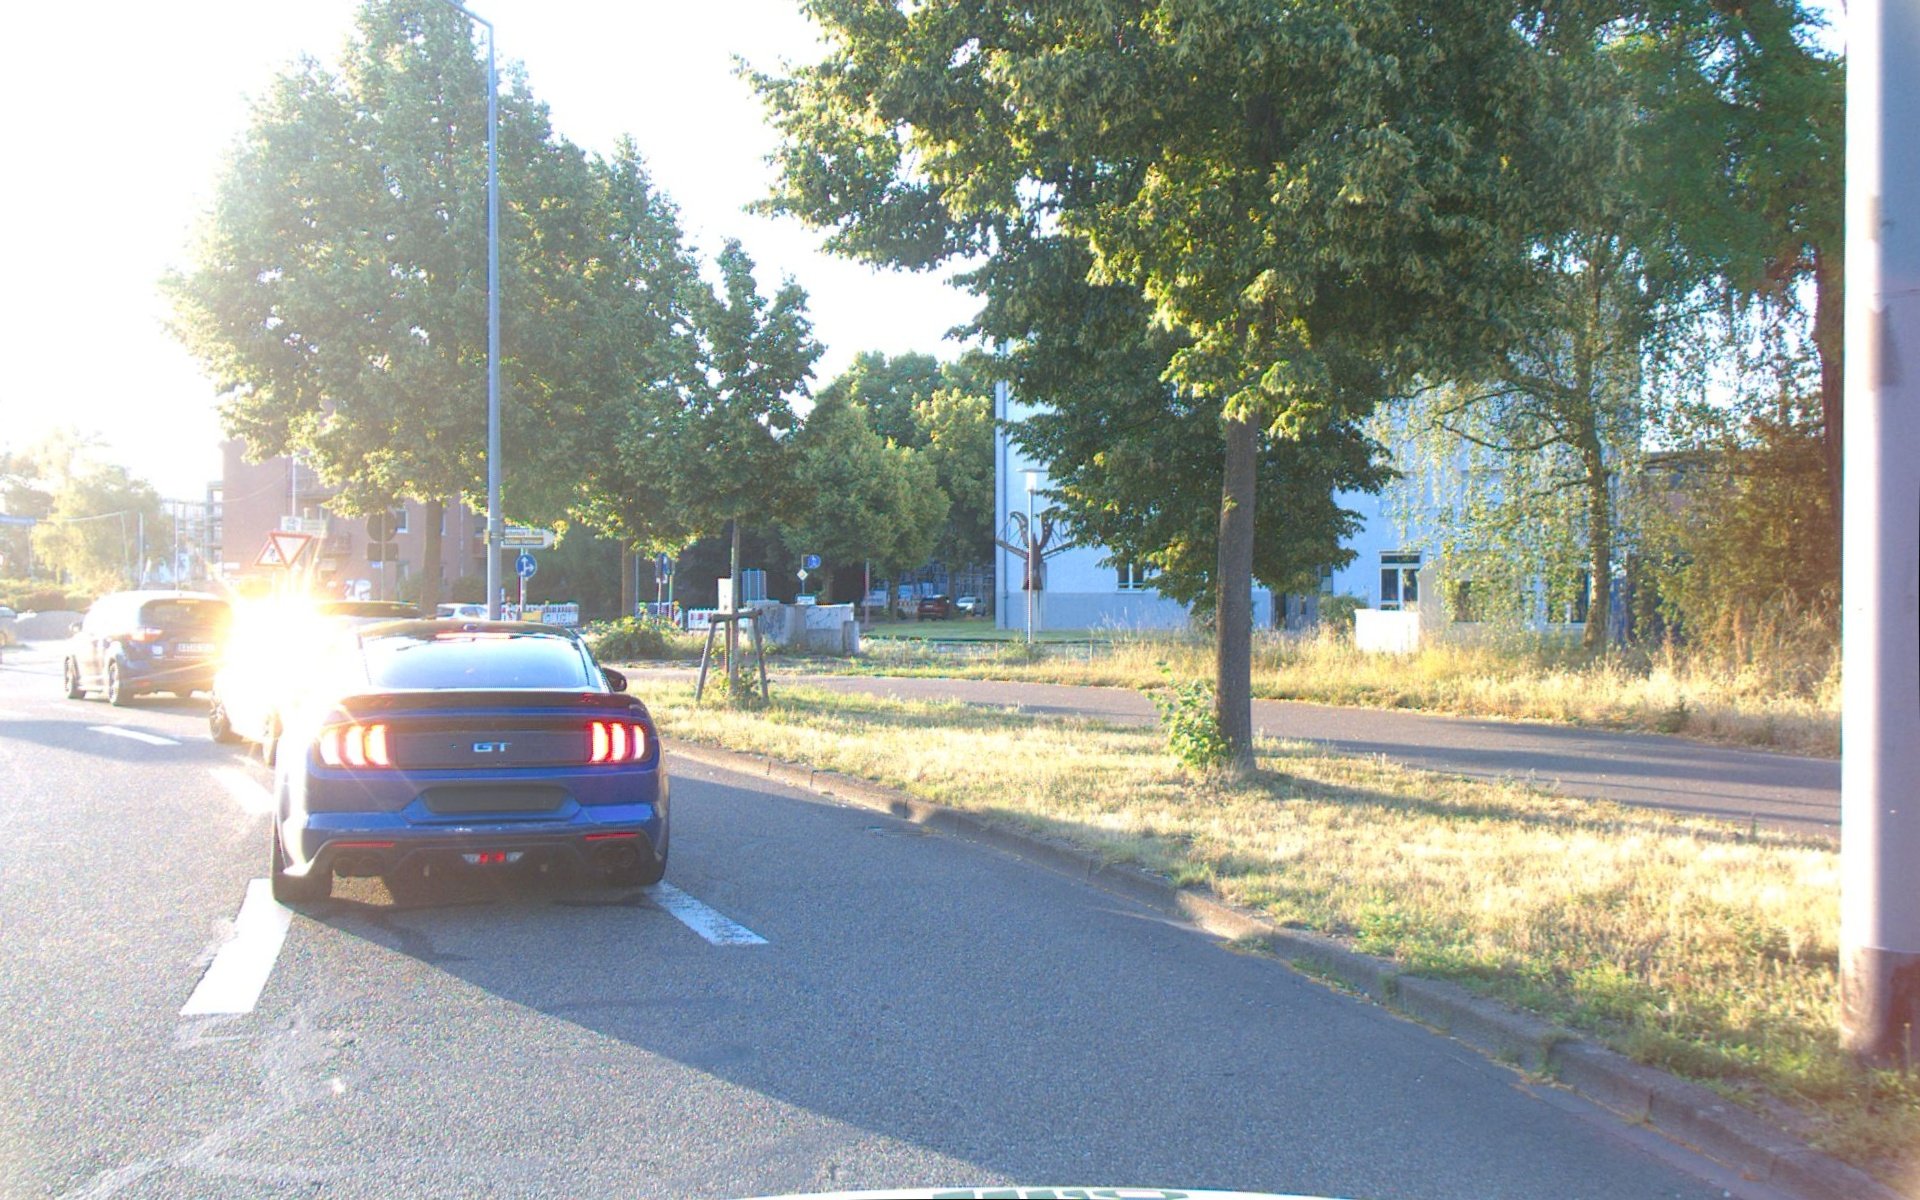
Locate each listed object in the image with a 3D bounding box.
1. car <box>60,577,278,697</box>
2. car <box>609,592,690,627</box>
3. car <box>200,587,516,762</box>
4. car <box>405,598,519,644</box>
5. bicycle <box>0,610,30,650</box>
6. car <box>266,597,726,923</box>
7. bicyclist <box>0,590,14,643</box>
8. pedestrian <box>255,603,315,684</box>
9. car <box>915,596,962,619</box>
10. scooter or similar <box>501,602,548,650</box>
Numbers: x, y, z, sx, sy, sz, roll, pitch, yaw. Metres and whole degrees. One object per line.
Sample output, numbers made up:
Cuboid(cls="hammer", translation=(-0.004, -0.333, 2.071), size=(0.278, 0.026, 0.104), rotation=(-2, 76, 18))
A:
Cuboid(cls="car", translation=(-11.818, 0.540, 24.598), size=(1.940, 1.630, 4.016), rotation=(1, -1, -41))
Cuboid(cls="car", translation=(-12.994, 0.365, 69.354), size=(1.836, 1.426, 3.919), rotation=(0, 0, 15))
Cuboid(cls="car", translation=(-5.976, 0.623, 16.078), size=(1.933, 1.452, 4.378), rotation=(2, -1, -33))
Cuboid(cls="car", translation=(-16.509, 0.677, 55.005), size=(1.836, 1.426, 3.919), rotation=(0, 0, 15))
Cuboid(cls="bicycle", translation=(-29.714, 0.922, 50.702), size=(0.736, 1.187, 2.411), rotation=(0, 0, 11))
Cuboid(cls="car", translation=(-2.834, 0.700, 9.475), size=(1.923, 1.365, 4.641), rotation=(2, -1, -21))
Cuboid(cls="bicyclist", translation=(-29.694, 0.504, 50.693), size=(0.736, 1.641, 0.979), rotation=(0, 0, 11))
Cuboid(cls="pedestrian", translation=(-14.526, 0.924, 35.597), size=(0.866, 1.716, 0.846), rotation=(0, 0, 19))
Cuboid(cls="car", translation=(-1.362, 0.477, 105.425), size=(1.836, 1.426, 3.918), rotation=(0, 0, 18))
Cuboid(cls="scooter or similar", translation=(-11.437, 0.679, 43.443), size=(1.111, 1.260, 0.437), rotation=(0, 0, -35))
